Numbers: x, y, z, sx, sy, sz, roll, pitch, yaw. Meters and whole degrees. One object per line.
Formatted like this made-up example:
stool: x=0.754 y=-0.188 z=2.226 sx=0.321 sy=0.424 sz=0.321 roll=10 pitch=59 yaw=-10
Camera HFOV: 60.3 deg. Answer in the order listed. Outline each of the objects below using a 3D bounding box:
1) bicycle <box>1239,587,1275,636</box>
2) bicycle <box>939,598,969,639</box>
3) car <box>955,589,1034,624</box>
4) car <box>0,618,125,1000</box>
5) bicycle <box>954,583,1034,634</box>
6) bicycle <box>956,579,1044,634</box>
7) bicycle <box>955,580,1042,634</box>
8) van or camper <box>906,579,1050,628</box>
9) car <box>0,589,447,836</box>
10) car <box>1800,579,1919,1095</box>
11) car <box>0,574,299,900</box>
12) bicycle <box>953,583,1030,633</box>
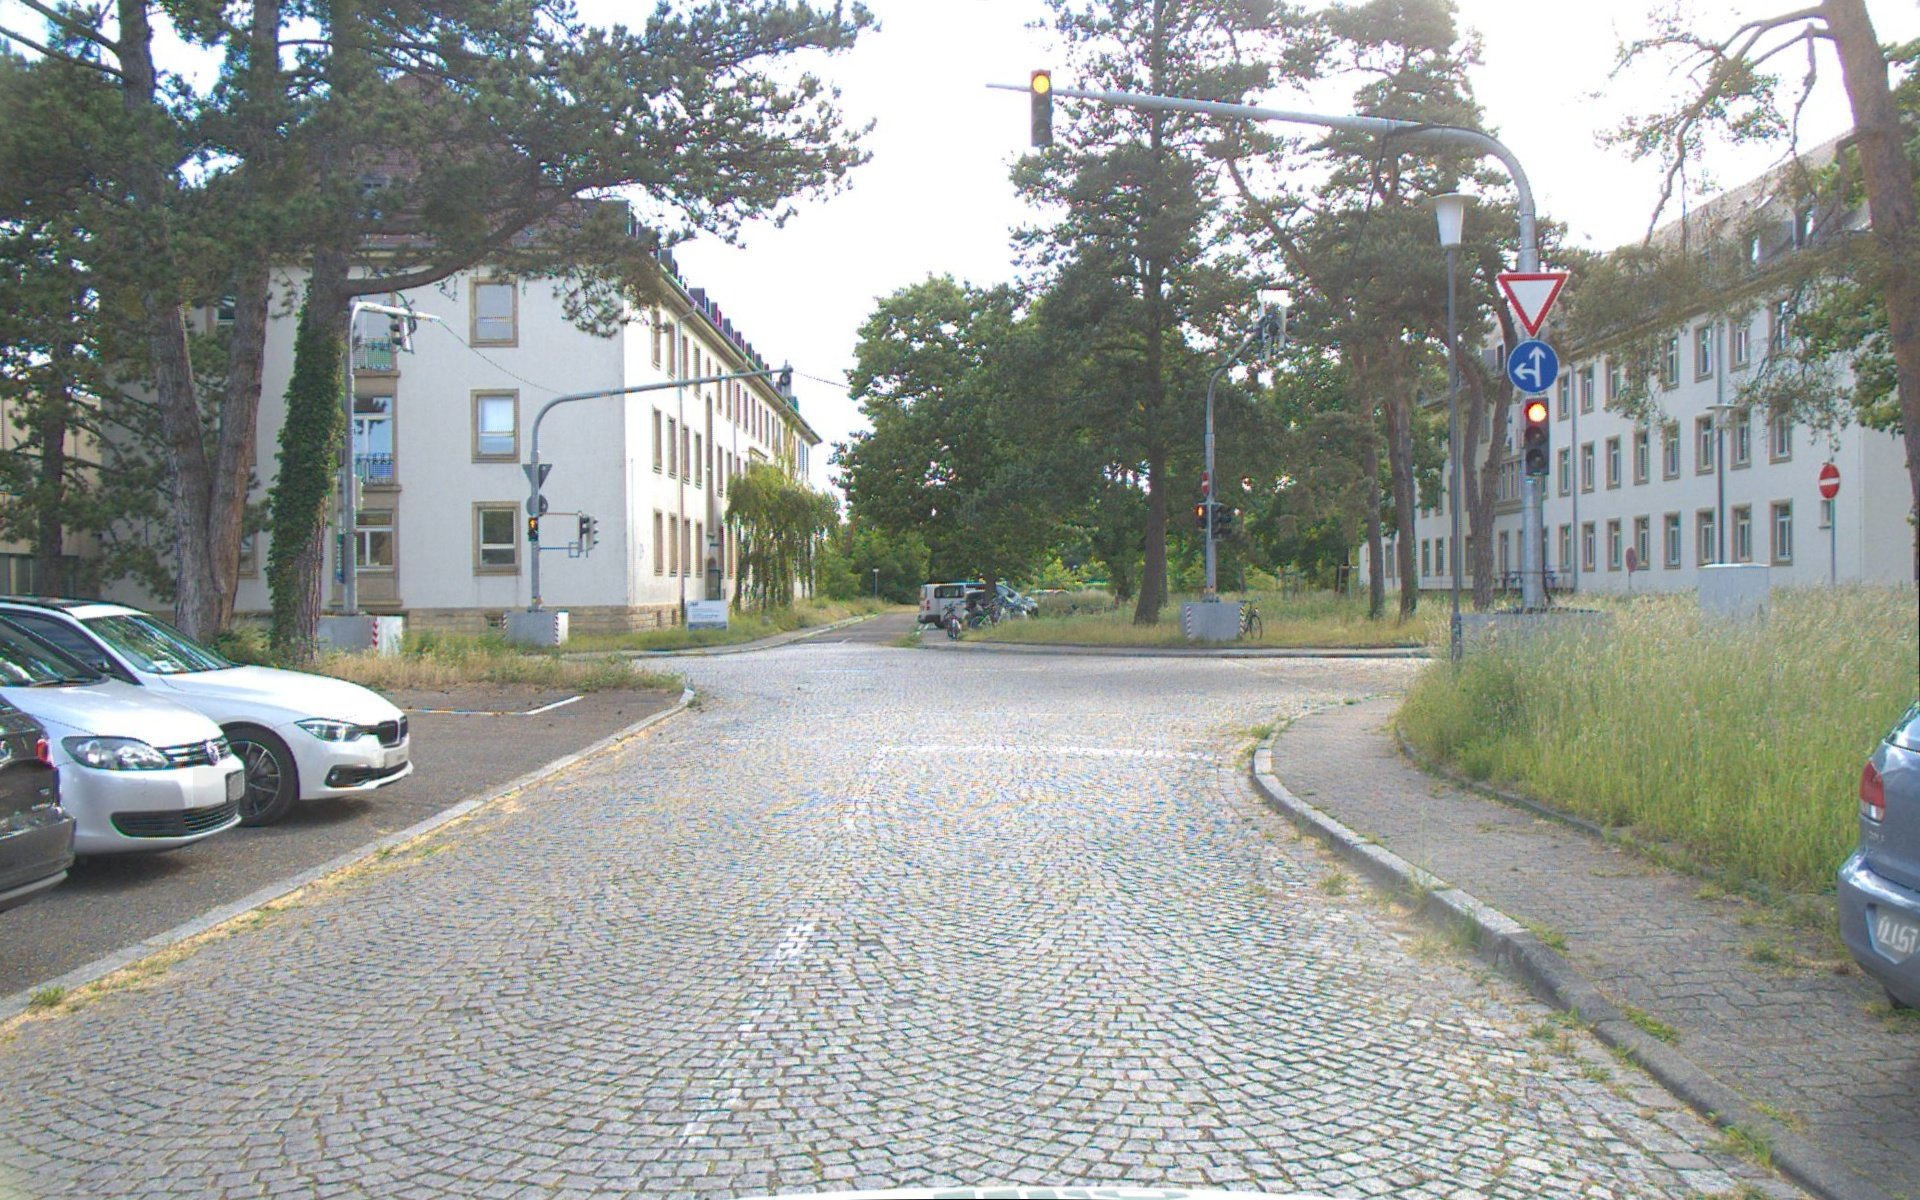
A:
bicycle: x=7.514 y=0.284 z=41.916 sx=0.708 sy=1.189 sz=2.739 roll=1 pitch=0 yaw=6
bicycle: x=-0.166 y=0.551 z=49.416 sx=0.711 sy=1.127 sz=2.462 roll=-5 pitch=0 yaw=1
car: x=1.390 y=0.256 z=68.093 sx=3.077 sy=1.378 sz=1.618 roll=-1 pitch=0 yaw=-6
car: x=-5.535 y=0.758 z=6.340 sx=3.758 sy=1.433 sz=1.695 roll=2 pitch=0 yaw=-1
bicycle: x=1.219 y=0.299 z=58.459 sx=2.717 sy=1.723 sz=1.121 roll=1 pitch=0 yaw=4
bicycle: x=1.295 y=0.198 z=53.699 sx=2.722 sy=1.723 sz=1.119 roll=-1 pitch=0 yaw=-6
bicycle: x=1.271 y=0.219 z=54.894 sx=2.723 sy=1.723 sz=1.118 roll=-1 pitch=0 yaw=-8
van or camper: x=0.773 y=0.124 z=71.669 sx=5.929 sy=1.983 sz=1.993 roll=-1 pitch=0 yaw=-14
car: x=-6.126 y=0.714 z=11.691 sx=4.389 sy=1.467 sz=1.829 roll=3 pitch=0 yaw=-4
car: x=4.666 y=0.647 z=4.650 sx=3.764 sy=1.496 sz=1.642 roll=-1 pitch=0 yaw=-1
car: x=-5.929 y=0.663 z=9.225 sx=3.755 sy=1.635 sz=1.735 roll=1 pitch=0 yaw=-3
bicycle: x=1.137 y=0.278 z=59.797 sx=2.718 sy=1.723 sz=1.120 roll=1 pitch=0 yaw=1
